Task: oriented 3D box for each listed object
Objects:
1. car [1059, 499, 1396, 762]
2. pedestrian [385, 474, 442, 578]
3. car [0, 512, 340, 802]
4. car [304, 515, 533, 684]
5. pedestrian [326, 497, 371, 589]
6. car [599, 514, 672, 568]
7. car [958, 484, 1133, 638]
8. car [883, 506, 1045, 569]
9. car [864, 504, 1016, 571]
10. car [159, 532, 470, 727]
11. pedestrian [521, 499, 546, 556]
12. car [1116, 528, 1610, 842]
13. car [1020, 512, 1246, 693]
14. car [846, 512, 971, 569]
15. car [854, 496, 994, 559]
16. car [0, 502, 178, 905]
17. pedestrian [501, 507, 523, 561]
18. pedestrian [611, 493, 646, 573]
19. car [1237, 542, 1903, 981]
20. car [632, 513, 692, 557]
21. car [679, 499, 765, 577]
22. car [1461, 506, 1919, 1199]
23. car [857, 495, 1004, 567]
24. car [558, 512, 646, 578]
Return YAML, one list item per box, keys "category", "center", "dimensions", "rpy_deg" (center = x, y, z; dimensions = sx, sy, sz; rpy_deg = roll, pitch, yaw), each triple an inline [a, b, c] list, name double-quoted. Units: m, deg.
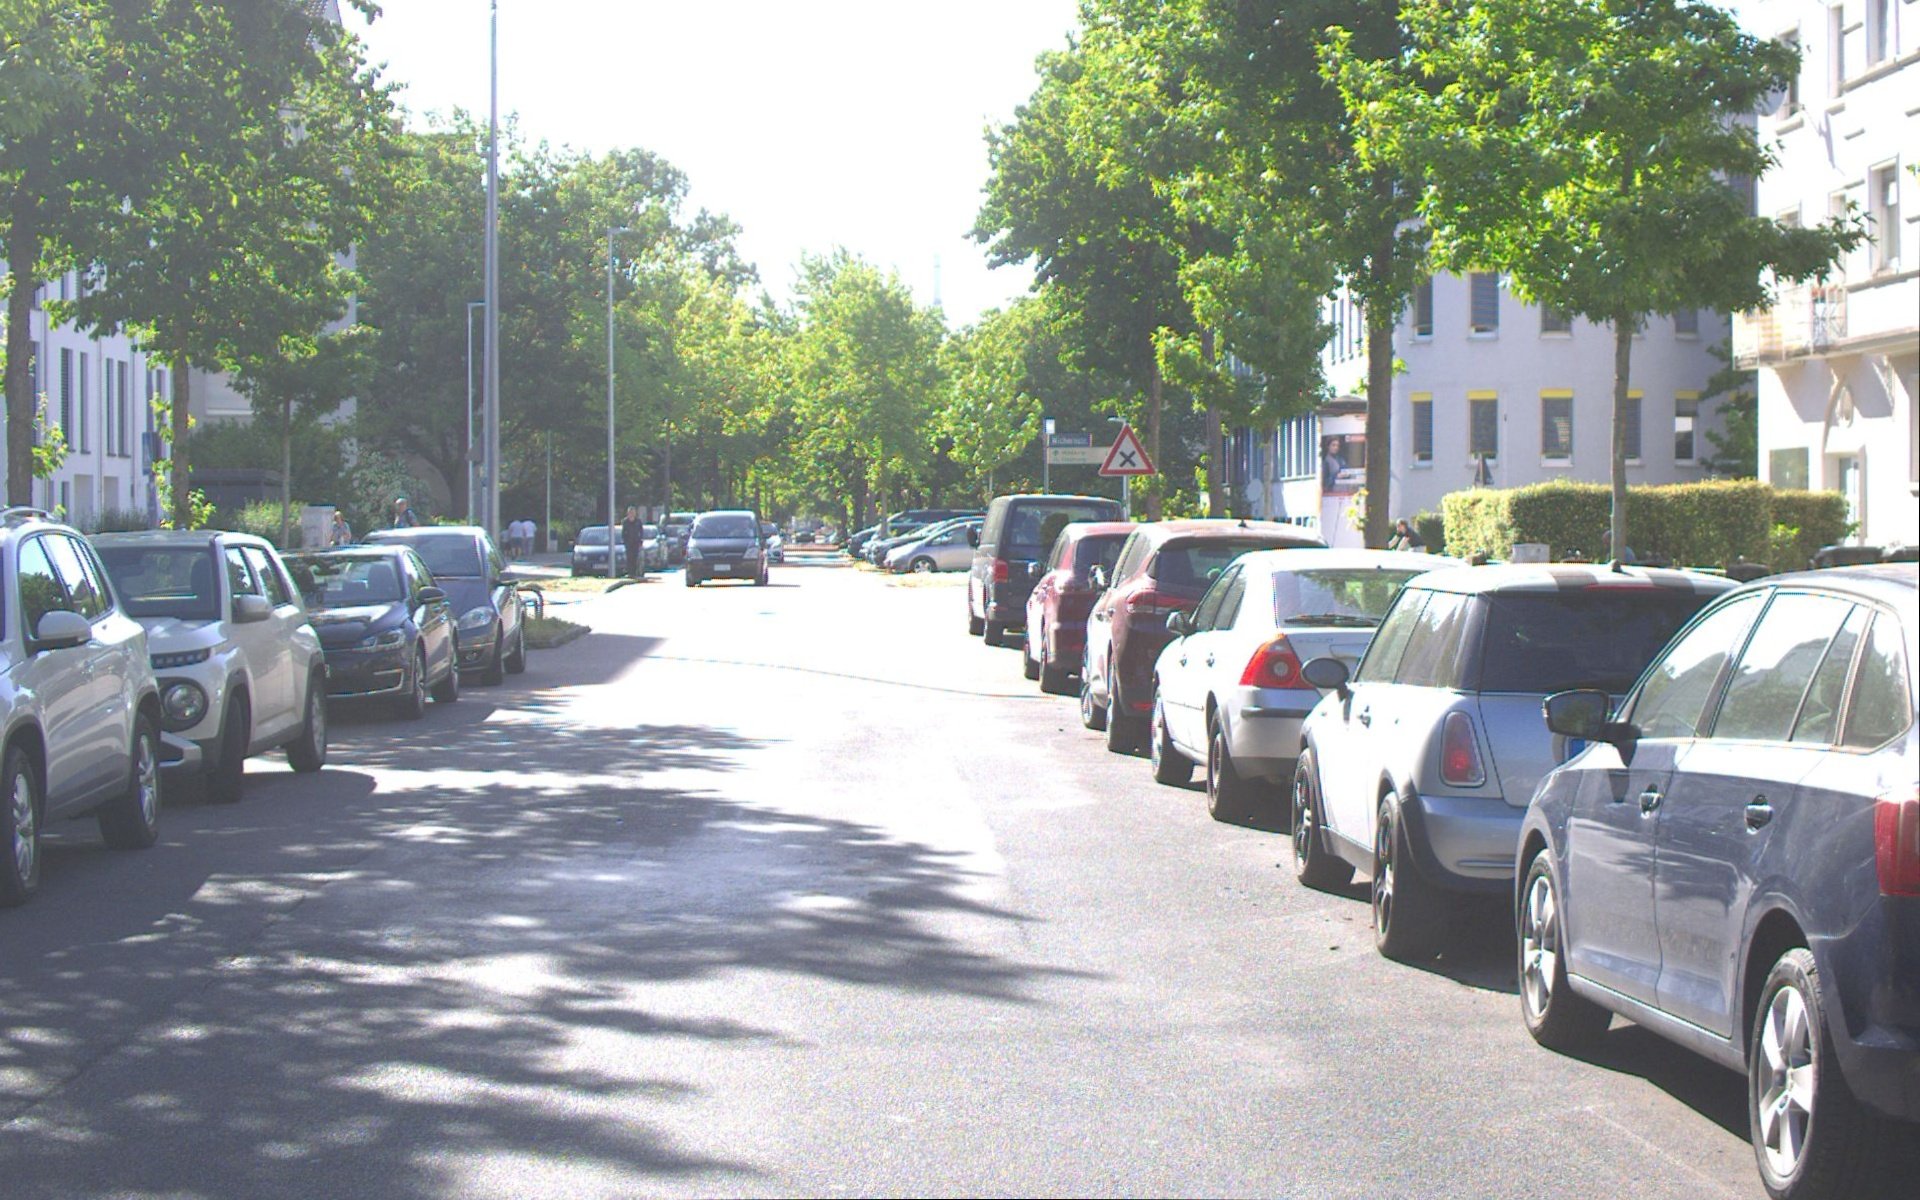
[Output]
- category: "car"
  center: [1.881, 0.152, 25.488]
  dimensions: [1.907, 1.693, 4.314]
  rpy_deg: [3, 1, -2]
- category: "pedestrian"
  center: [-10.679, -1.446, 67.210]
  dimensions: [0.859, 2.007, 0.981]
  rpy_deg: [0, 1, 6]
- category: "car"
  center: [-4.924, 0.272, 20.737]
  dimensions: [1.710, 1.539, 3.931]
  rpy_deg: [-2, 1, -2]
- category: "car"
  center: [-5.522, -0.056, 35.507]
  dimensions: [1.839, 1.589, 4.263]
  rpy_deg: [-2, 1, -3]
- category: "pedestrian"
  center: [-13.471, -1.268, 75.709]
  dimensions: [0.859, 2.007, 0.981]
  rpy_deg: [0, 1, -4]
- category: "car"
  center: [-9.869, -1.812, 104.815]
  dimensions: [1.993, 1.579, 4.001]
  rpy_deg: [0, 2, -2]
- category: "car"
  center: [1.083, -0.552, 45.954]
  dimensions: [1.970, 1.942, 4.986]
  rpy_deg: [0, 1, -3]
- category: "car"
  center: [0.087, -1.605, 88.279]
  dimensions: [3.986, 1.581, 1.727]
  rpy_deg: [0, 1, -6]
- category: "car"
  center: [-0.560, -1.708, 93.481]
  dimensions: [3.986, 1.799, 1.890]
  rpy_deg: [0, 1, -4]
- category: "car"
  center: [-5.430, 0.194, 29.440]
  dimensions: [1.993, 1.448, 4.263]
  rpy_deg: [-2, 1, -3]
- category: "pedestrian"
  center: [-15.345, -2.613, 123.764]
  dimensions: [0.859, 2.007, 0.981]
  rpy_deg: [0, 1, -9]
- category: "car"
  center: [2.112, 0.380, 19.428]
  dimensions: [1.897, 1.469, 4.700]
  rpy_deg: [3, 1, -4]
- category: "car"
  center: [1.631, -0.030, 33.744]
  dimensions: [1.834, 1.594, 4.159]
  rpy_deg: [2, 1, -2]
- category: "car"
  center: [-1.767, -2.019, 116.900]
  dimensions: [3.986, 1.875, 2.001]
  rpy_deg: [1, 1, -9]
- category: "car"
  center: [-1.077, -2.129, 100.788]
  dimensions: [3.986, 1.824, 2.000]
  rpy_deg: [0, 1, -4]
- category: "car"
  center: [-4.778, 0.381, 15.229]
  dimensions: [1.811, 1.590, 4.233]
  rpy_deg: [-1, 1, -2]
- category: "pedestrian"
  center: [-15.629, -2.301, 119.944]
  dimensions: [0.761, 1.894, 0.819]
  rpy_deg: [0, 1, -8]
- category: "pedestrian"
  center: [-7.854, -1.591, 81.414]
  dimensions: [0.715, 1.894, 0.837]
  rpy_deg: [0, 1, -12]
- category: "car"
  center: [2.243, 0.524, 13.654]
  dimensions: [1.788, 1.448, 3.782]
  rpy_deg: [1, 1, -3]
- category: "car"
  center: [-10.970, -2.395, 126.575]
  dimensions: [1.993, 1.579, 4.001]
  rpy_deg: [0, 2, -2]
- category: "car"
  center: [-5.134, -1.342, 73.848]
  dimensions: [1.783, 1.603, 4.001]
  rpy_deg: [0, 1, -5]
- category: "car"
  center: [2.562, 0.548, 8.942]
  dimensions: [1.692, 1.535, 4.442]
  rpy_deg: [1, 2, -2]
- category: "car"
  center: [-0.836, -1.943, 96.297]
  dimensions: [3.986, 2.007, 2.000]
  rpy_deg: [0, 1, -4]
- category: "car"
  center: [-9.305, -1.463, 89.539]
  dimensions: [1.993, 1.665, 4.001]
  rpy_deg: [0, 2, -2]
